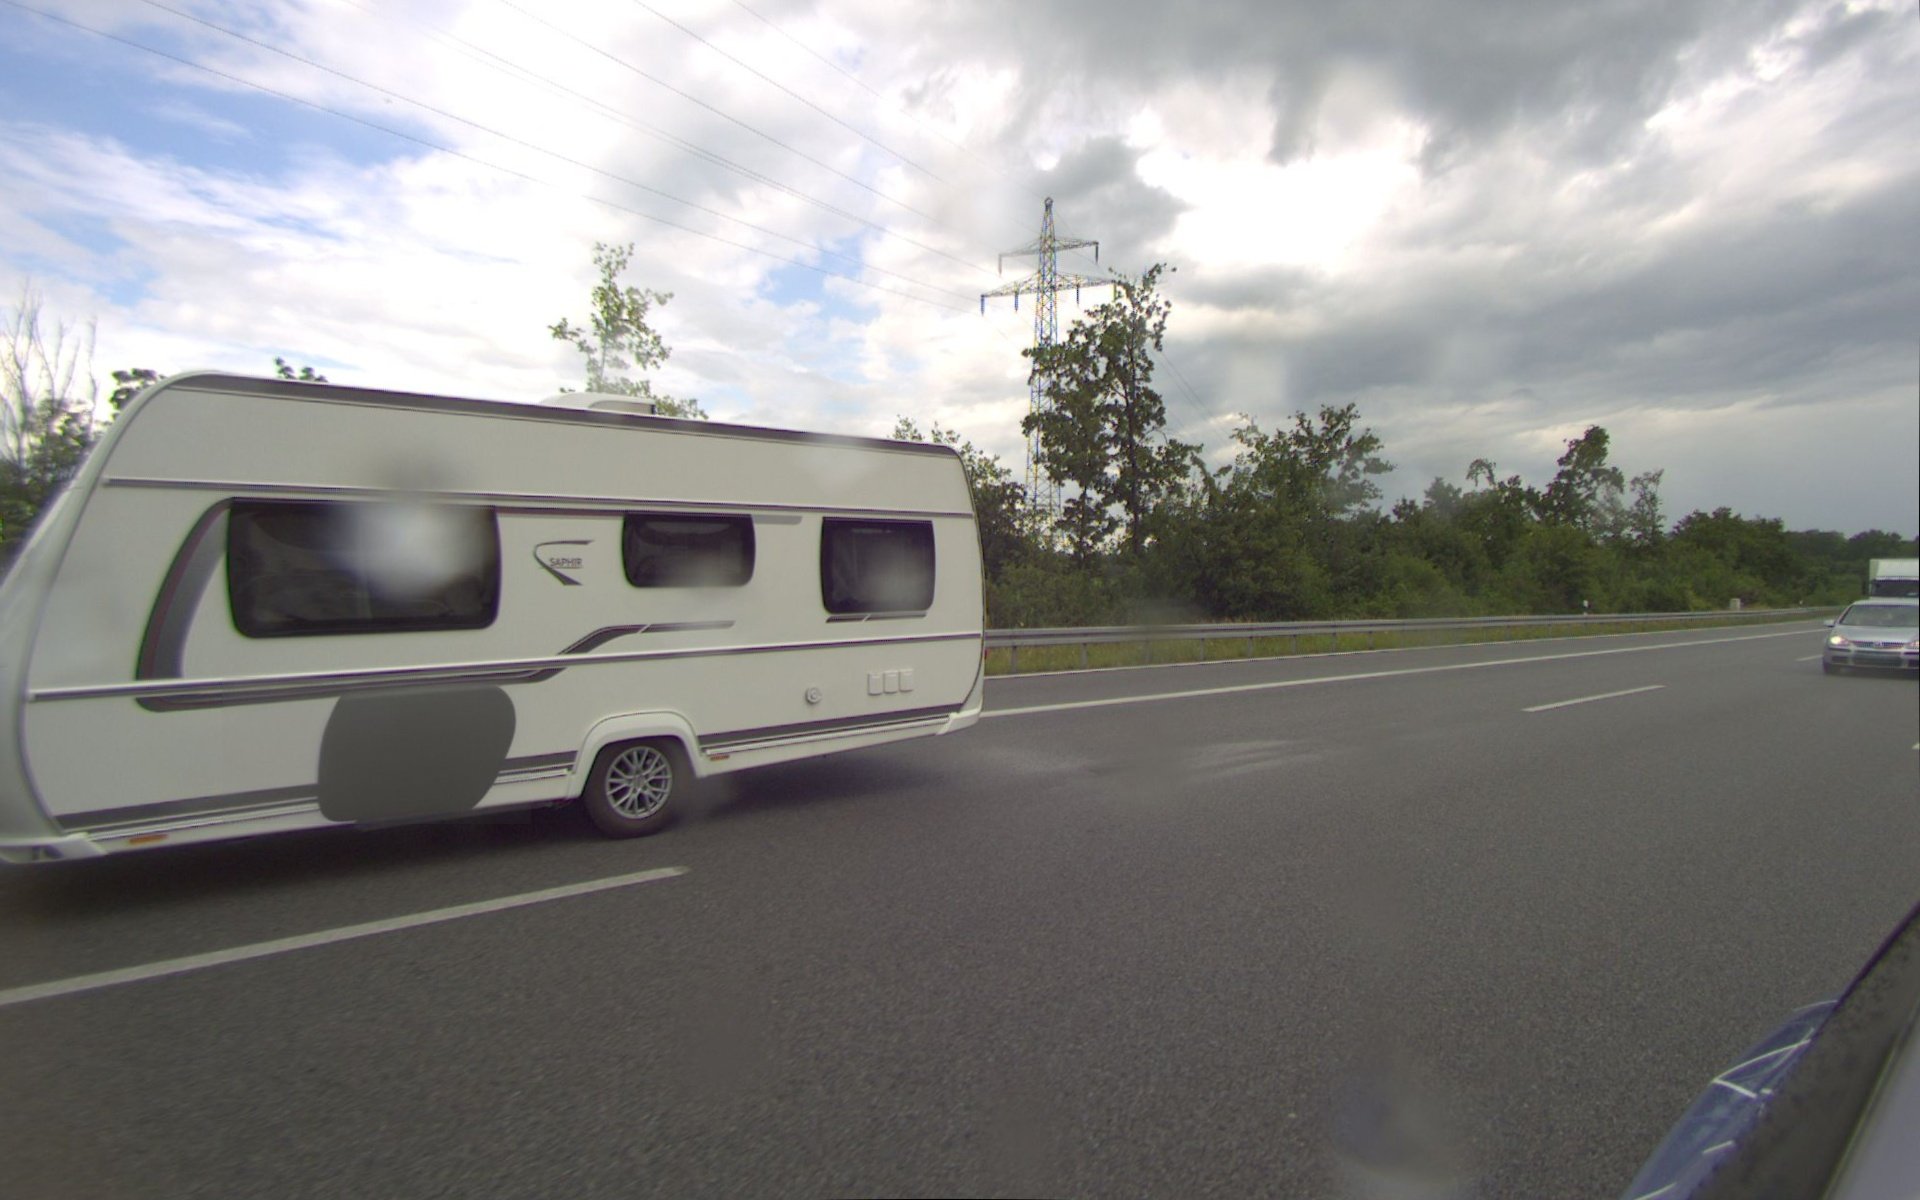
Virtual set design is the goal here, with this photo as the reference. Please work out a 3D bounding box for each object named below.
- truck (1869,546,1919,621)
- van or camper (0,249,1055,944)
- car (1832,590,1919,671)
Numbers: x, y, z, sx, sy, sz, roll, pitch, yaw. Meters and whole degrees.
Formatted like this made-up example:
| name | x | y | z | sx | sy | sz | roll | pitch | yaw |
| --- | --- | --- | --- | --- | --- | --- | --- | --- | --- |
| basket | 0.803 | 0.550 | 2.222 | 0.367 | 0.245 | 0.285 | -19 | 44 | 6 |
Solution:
| name | x | y | z | sx | sy | sz | roll | pitch | yaw |
| --- | --- | --- | --- | --- | --- | --- | --- | --- | --- |
| truck | 50.924 | -0.873 | 53.570 | 9.424 | 3.700 | 2.868 | -1 | 0 | -40 |
| van or camper | -2.662 | -0.047 | 6.683 | 7.084 | 2.773 | 2.388 | -1 | 0 | -42 |
| car | 18.692 | 0.541 | 19.945 | 3.929 | 1.464 | 1.683 | -1 | 1 | -40 |
